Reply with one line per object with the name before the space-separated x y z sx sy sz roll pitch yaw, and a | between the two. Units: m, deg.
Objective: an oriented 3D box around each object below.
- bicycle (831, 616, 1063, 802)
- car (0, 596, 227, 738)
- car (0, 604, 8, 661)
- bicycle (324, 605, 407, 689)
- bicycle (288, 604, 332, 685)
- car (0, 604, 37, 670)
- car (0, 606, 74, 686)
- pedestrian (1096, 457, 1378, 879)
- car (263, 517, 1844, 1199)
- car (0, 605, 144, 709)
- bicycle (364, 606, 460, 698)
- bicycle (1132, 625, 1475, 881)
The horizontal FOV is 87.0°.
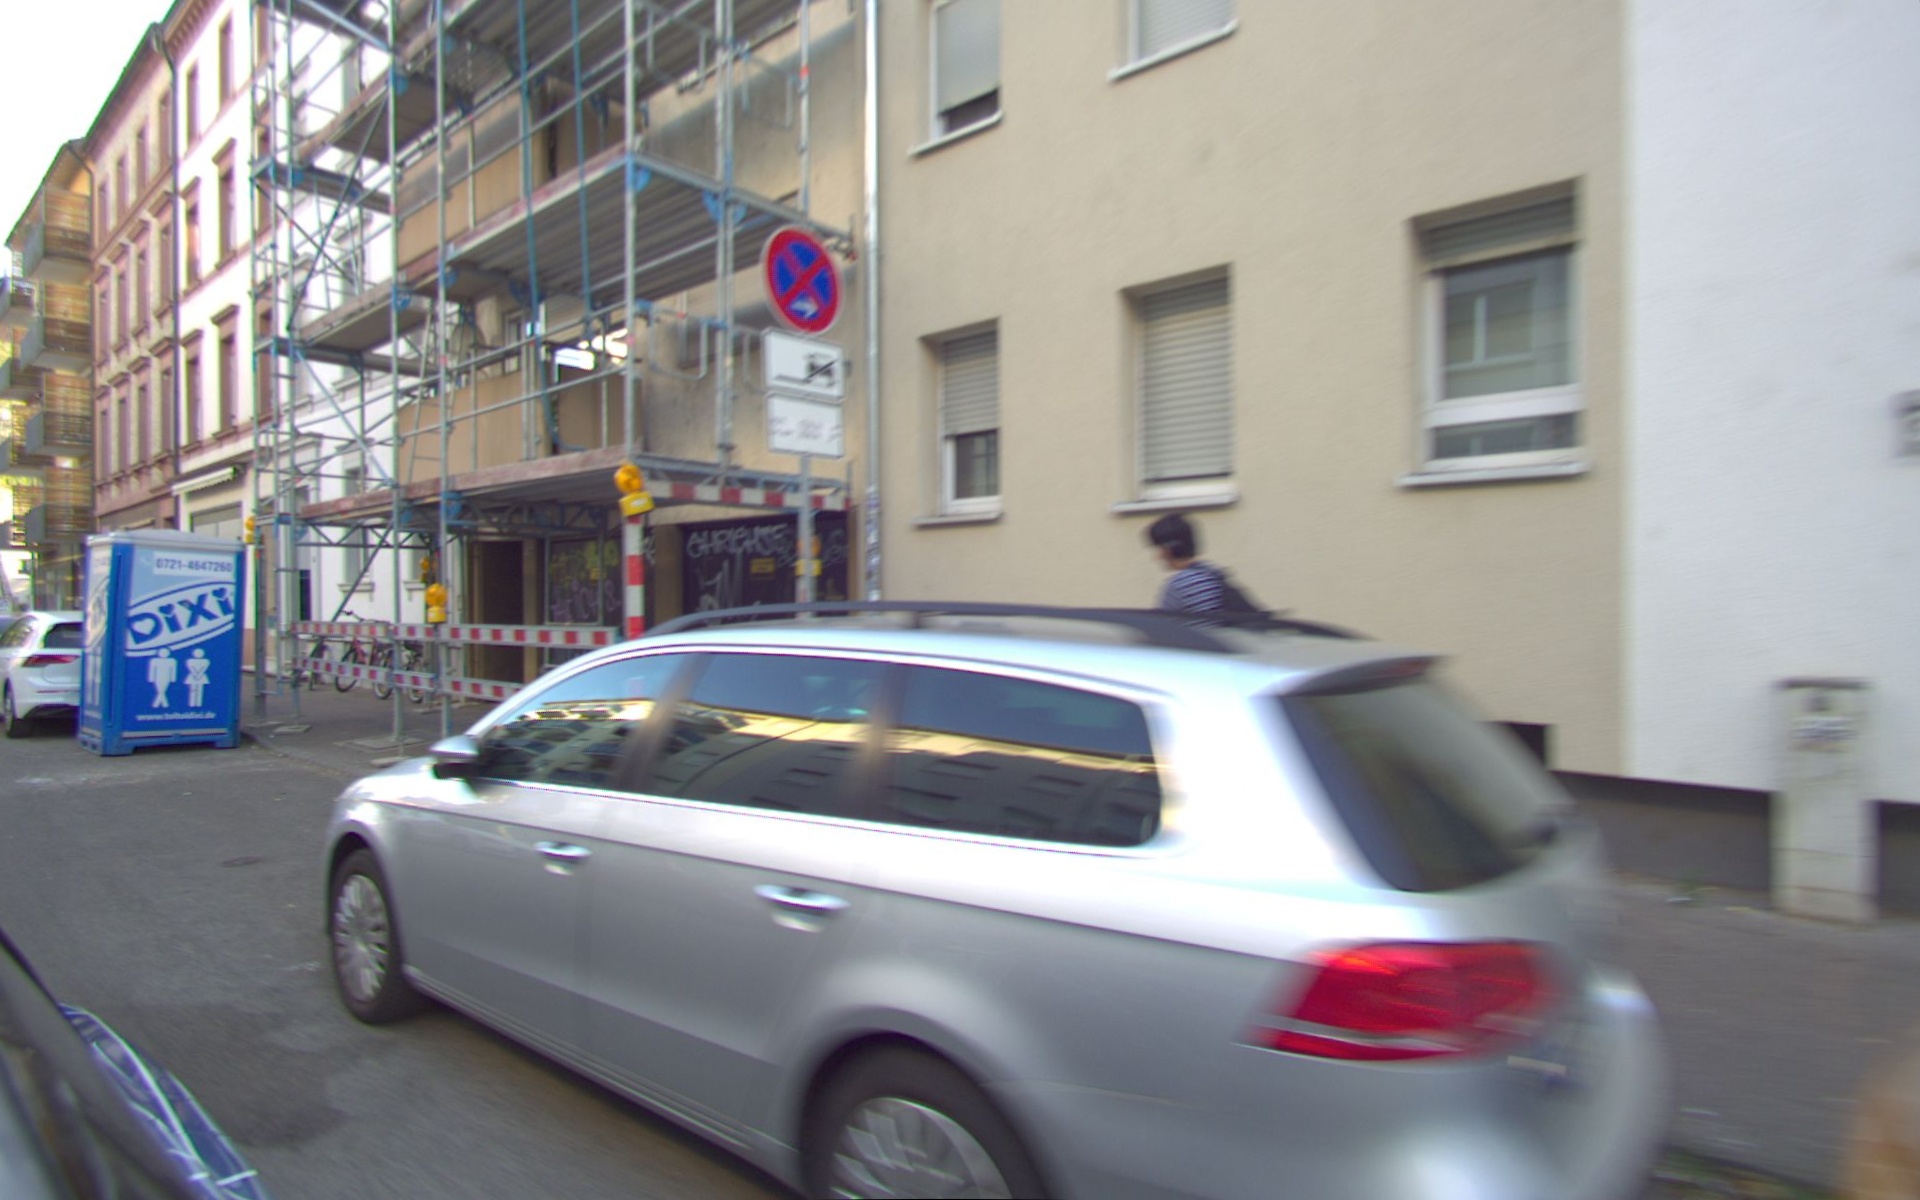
bicycle | -0.138 0.731 7.387 1.814 1.177 0.400 0 3 39
car | -11.167 0.734 12.912 3.996 1.516 1.974 0 -1 39
car | -26.381 0.808 26.241 3.996 1.442 1.974 0 -1 39
bicycle | -8.981 0.683 15.256 1.814 1.177 0.400 0 3 39
bicycle | -10.586 0.691 16.510 0.483 1.177 1.687 -4 3 -31
car | -22.855 0.804 23.184 3.996 1.442 1.974 0 -1 39
car | -18.838 0.831 19.541 3.996 1.442 1.974 0 -1 39
pedestrian | 1.339 0.289 4.912 1.091 1.774 0.781 0 -1 41
car | -0.317 0.681 3.209 4.613 1.499 1.903 0 -1 39
car | -14.771 0.823 16.123 3.996 1.459 1.974 0 -1 39
bicycle | -7.566 0.682 13.938 1.814 1.177 0.437 0 3 39
bicycle | 1.849 0.758 5.611 1.730 1.177 0.473 0 3 39
